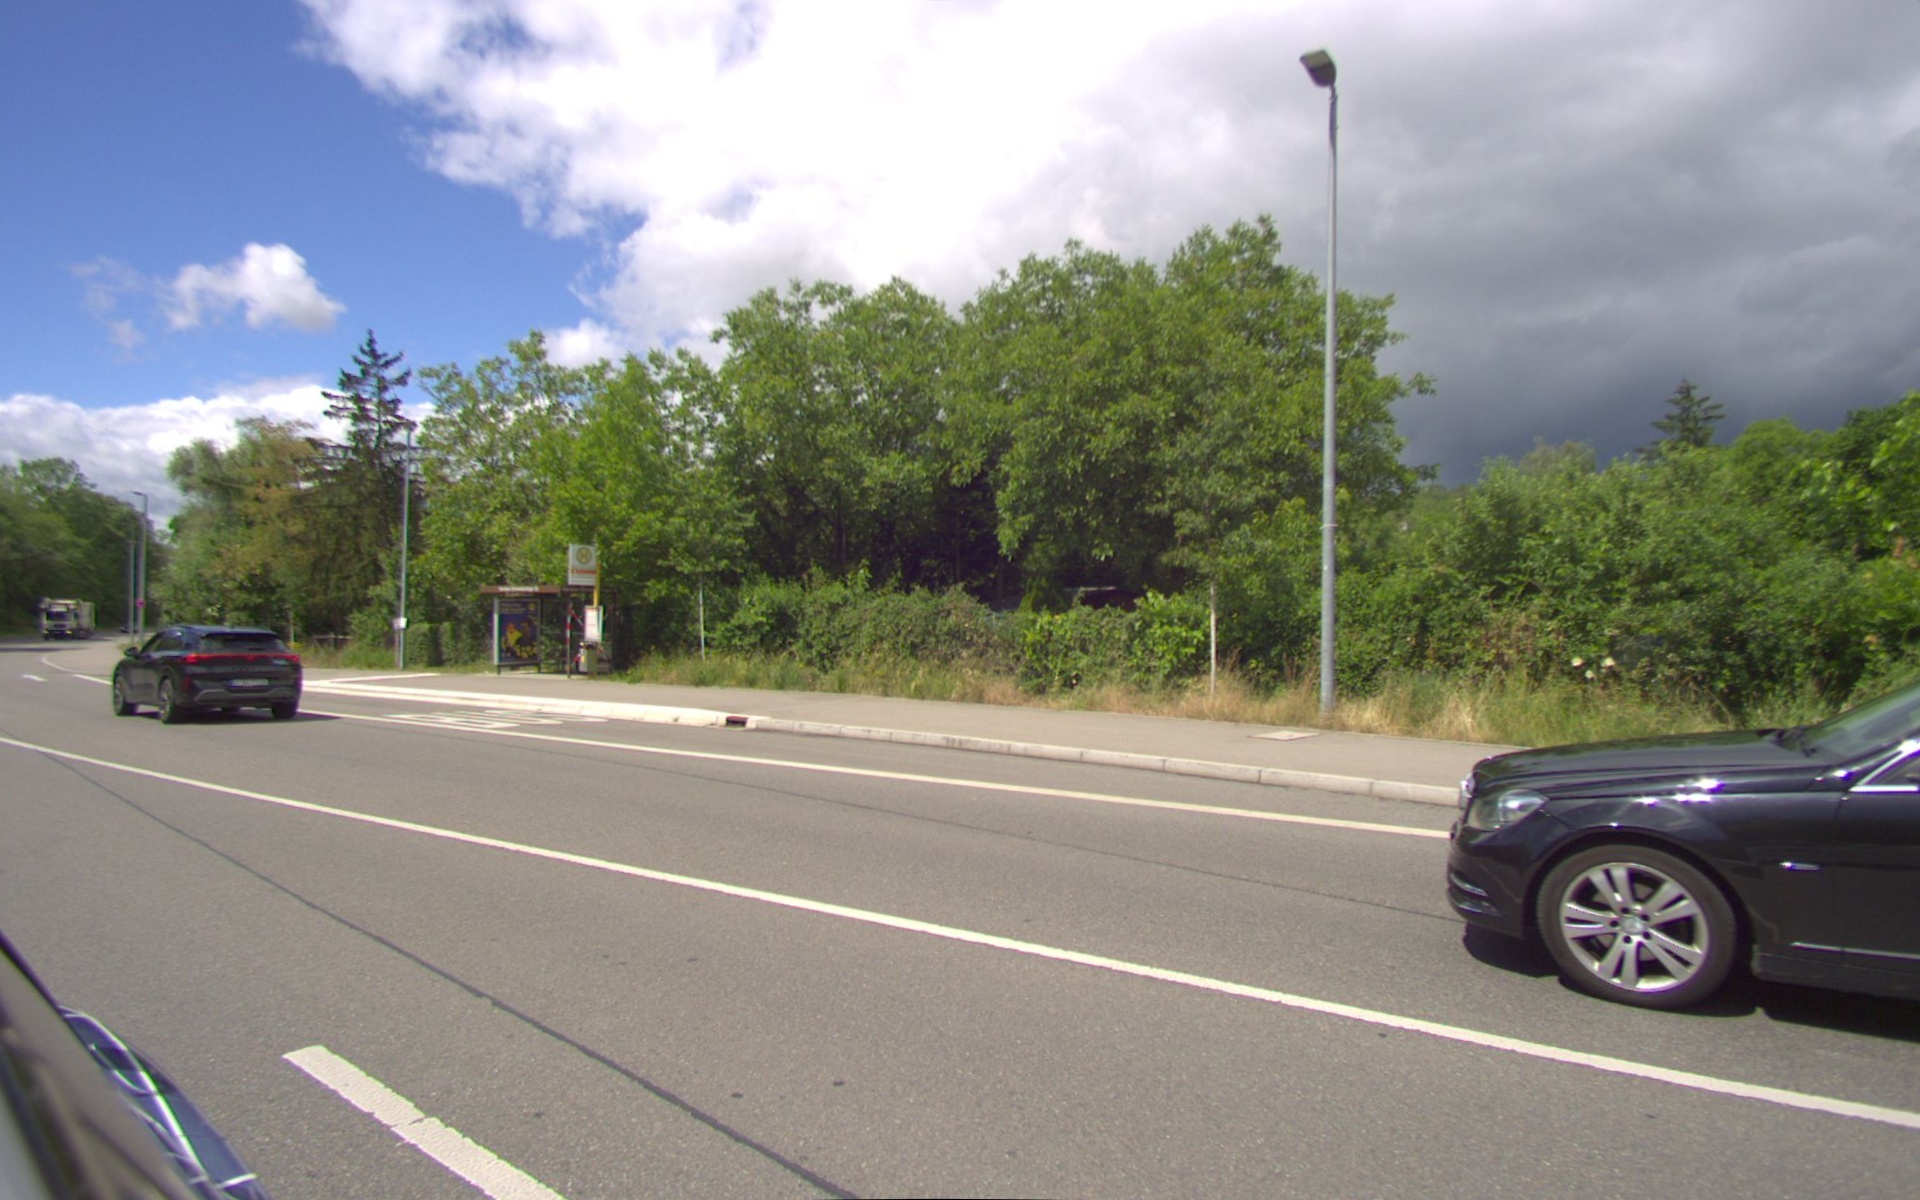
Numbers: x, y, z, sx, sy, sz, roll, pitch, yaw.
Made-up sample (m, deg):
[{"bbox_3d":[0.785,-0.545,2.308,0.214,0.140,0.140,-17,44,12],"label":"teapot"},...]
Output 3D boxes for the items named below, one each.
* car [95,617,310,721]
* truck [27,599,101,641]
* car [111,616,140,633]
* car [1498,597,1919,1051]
[{"bbox_3d":[-13.113,1.149,17.421,4.622,1.569,1.805,-2,-4,38],"label":"car"},{"bbox_3d":[-87.700,1.964,99.278,3.187,3.890,9.904,2,-2,-29],"label":"truck"},{"bbox_3d":[-103.193,2.975,125.243,1.965,2.029,4.012,2,-2,-29],"label":"car"},{"bbox_3d":[4.380,0.724,3.361,4.369,1.453,1.750,-1,-2,37],"label":"car"}]
